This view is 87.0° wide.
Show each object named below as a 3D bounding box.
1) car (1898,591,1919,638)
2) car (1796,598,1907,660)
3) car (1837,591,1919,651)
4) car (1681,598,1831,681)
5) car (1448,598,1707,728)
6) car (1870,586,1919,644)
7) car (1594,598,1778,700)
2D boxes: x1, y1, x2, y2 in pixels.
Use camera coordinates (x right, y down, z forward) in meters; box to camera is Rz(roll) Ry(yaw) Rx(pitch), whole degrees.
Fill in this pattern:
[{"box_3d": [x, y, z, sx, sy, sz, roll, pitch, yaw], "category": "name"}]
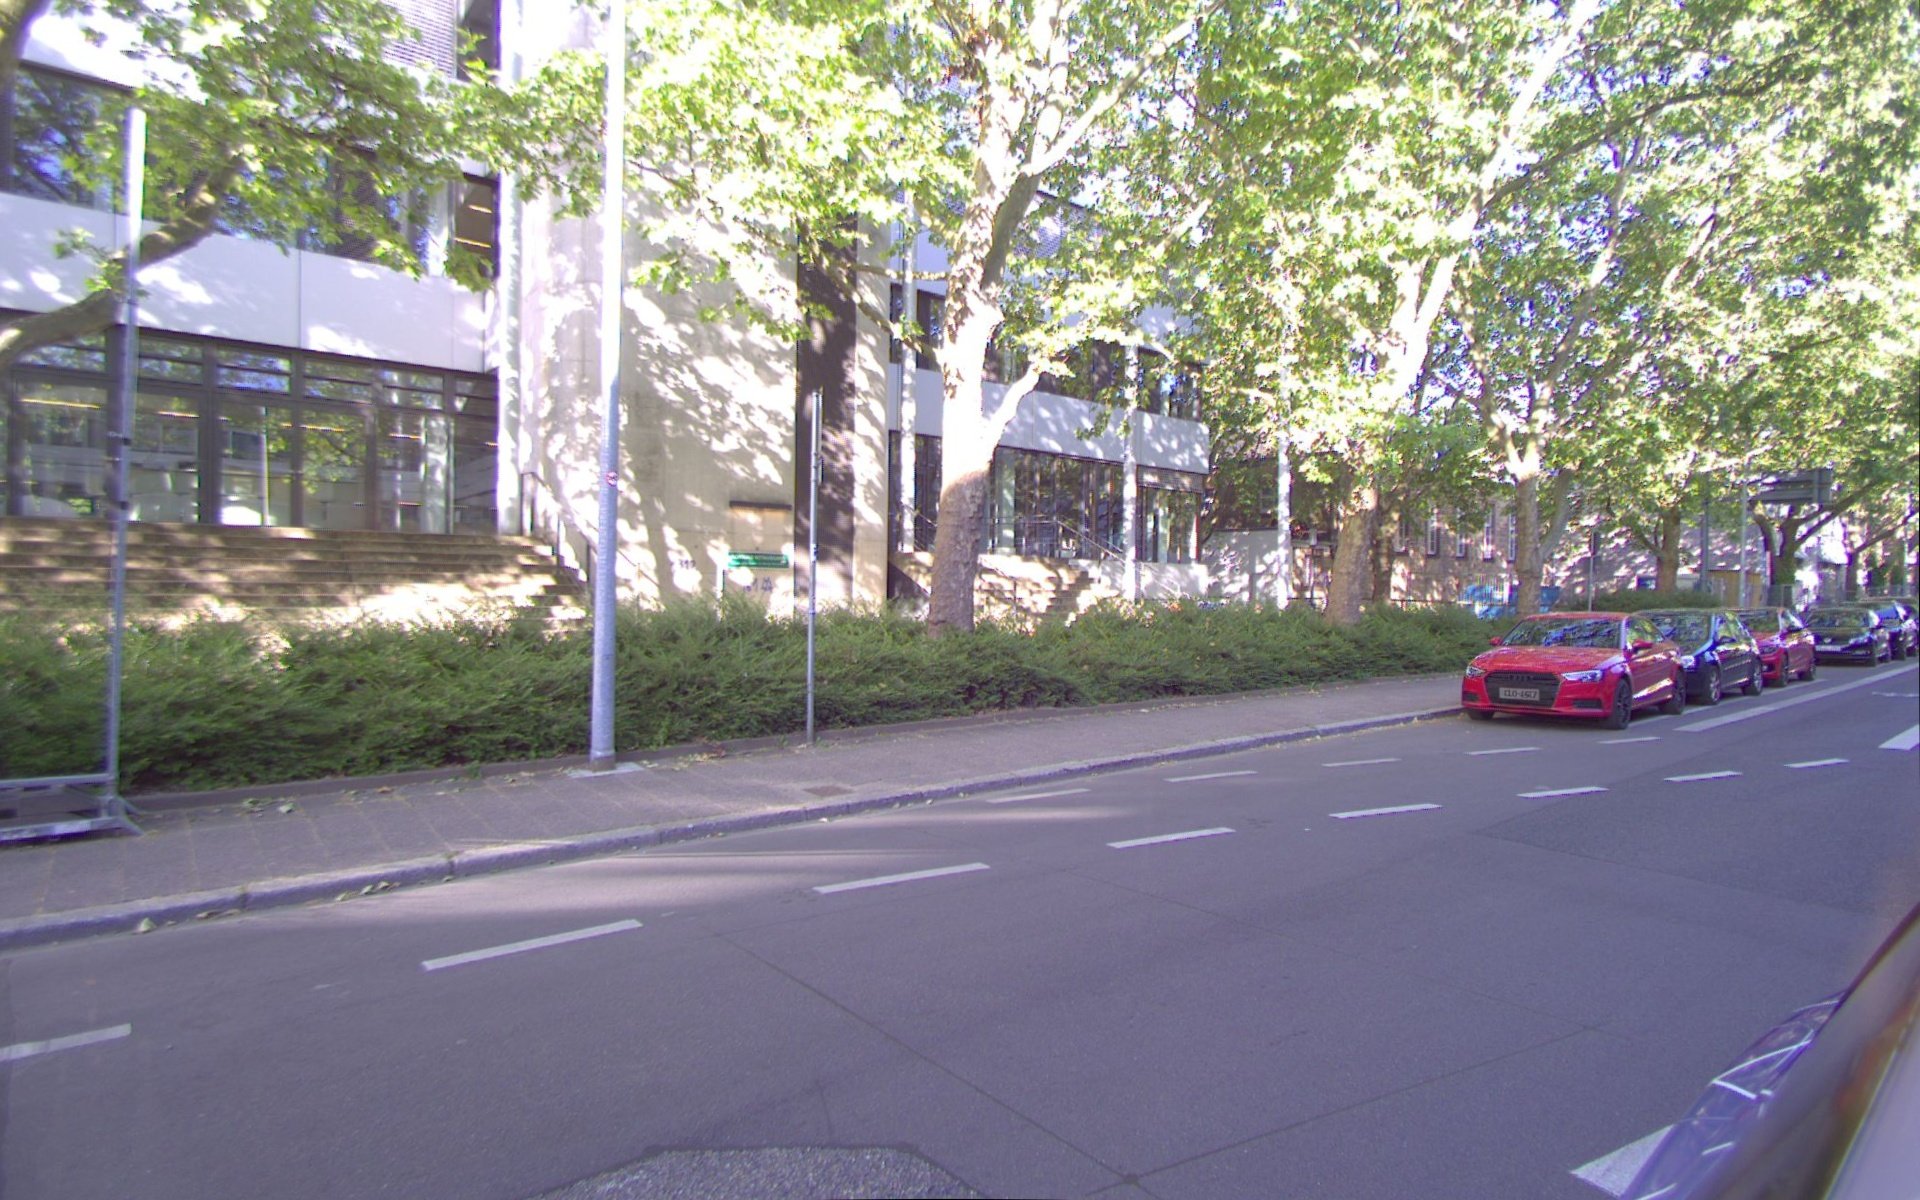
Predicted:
[{"box_3d": [35.931, 0.524, 37.237, 3.777, 1.675, 1.634, 0, -1, -41], "category": "car"}, {"box_3d": [22.879, 0.692, 25.934, 3.674, 1.483, 1.634, 0, -1, -41], "category": "car"}, {"box_3d": [26.587, 0.579, 29.027, 3.777, 1.607, 1.634, 0, -1, -41], "category": "car"}, {"box_3d": [15.730, 0.720, 19.945, 3.674, 1.483, 1.634, 0, -1, -41], "category": "car"}, {"box_3d": [8.338, 0.719, 13.528, 4.053, 1.483, 1.802, 0, -1, -41], "category": "car"}, {"box_3d": [31.105, 0.469, 33.011, 3.777, 1.828, 1.634, 0, -1, -41], "category": "car"}, {"box_3d": [11.943, 0.725, 16.574, 3.674, 1.483, 1.634, 0, -1, -41], "category": "car"}]
